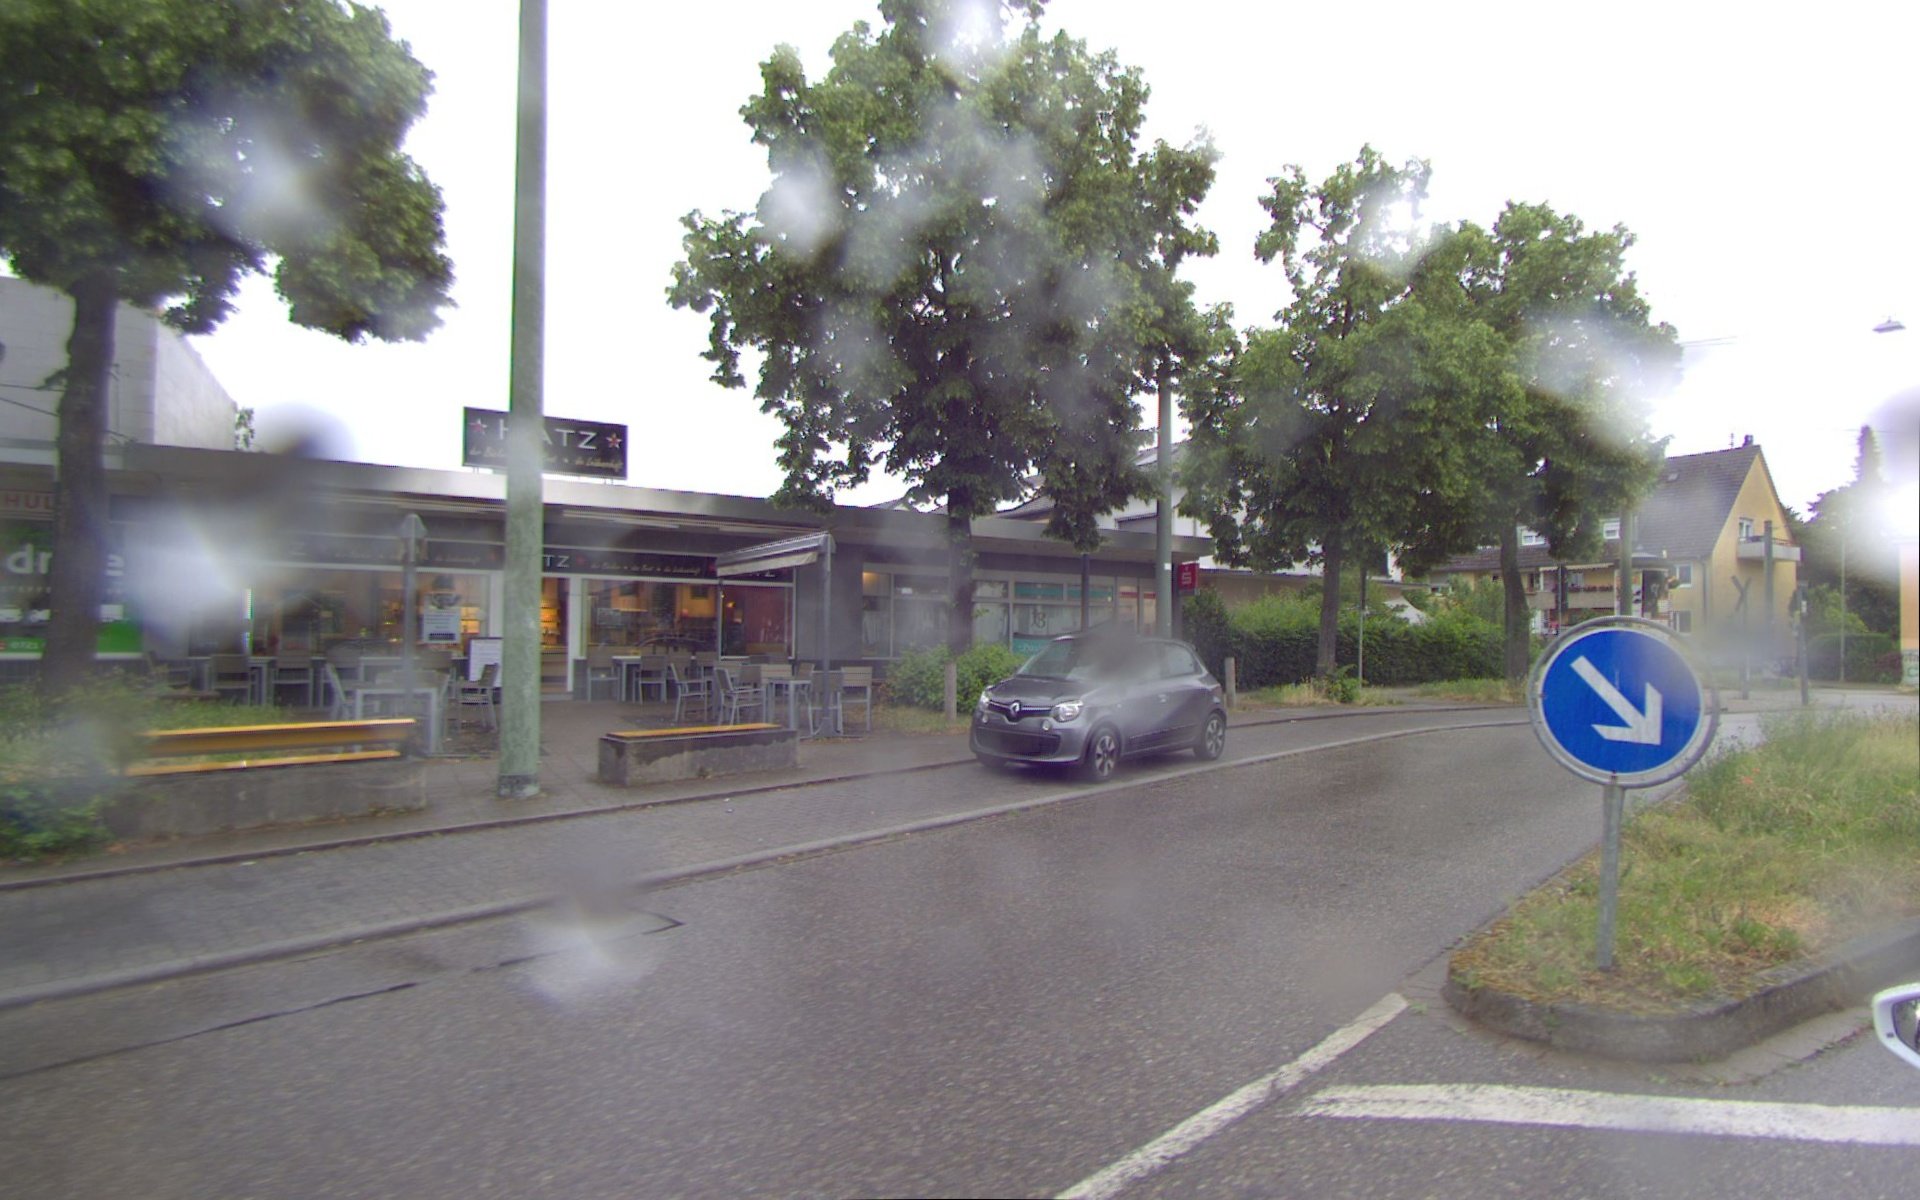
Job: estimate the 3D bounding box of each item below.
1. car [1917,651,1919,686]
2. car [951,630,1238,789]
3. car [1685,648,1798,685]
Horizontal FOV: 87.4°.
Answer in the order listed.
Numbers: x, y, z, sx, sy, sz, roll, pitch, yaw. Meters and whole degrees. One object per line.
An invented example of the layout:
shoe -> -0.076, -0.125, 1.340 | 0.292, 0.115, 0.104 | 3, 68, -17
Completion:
car -> 42.852, 2.982, 41.899 | 1.815, 1.475, 3.961 | 2, -1, -34
car -> 1.714, 1.163, 11.906 | 1.599, 1.516, 3.648 | 2, -1, 41
car -> 37.827, 3.192, 48.711 | 1.815, 1.475, 3.961 | 2, -1, -34
